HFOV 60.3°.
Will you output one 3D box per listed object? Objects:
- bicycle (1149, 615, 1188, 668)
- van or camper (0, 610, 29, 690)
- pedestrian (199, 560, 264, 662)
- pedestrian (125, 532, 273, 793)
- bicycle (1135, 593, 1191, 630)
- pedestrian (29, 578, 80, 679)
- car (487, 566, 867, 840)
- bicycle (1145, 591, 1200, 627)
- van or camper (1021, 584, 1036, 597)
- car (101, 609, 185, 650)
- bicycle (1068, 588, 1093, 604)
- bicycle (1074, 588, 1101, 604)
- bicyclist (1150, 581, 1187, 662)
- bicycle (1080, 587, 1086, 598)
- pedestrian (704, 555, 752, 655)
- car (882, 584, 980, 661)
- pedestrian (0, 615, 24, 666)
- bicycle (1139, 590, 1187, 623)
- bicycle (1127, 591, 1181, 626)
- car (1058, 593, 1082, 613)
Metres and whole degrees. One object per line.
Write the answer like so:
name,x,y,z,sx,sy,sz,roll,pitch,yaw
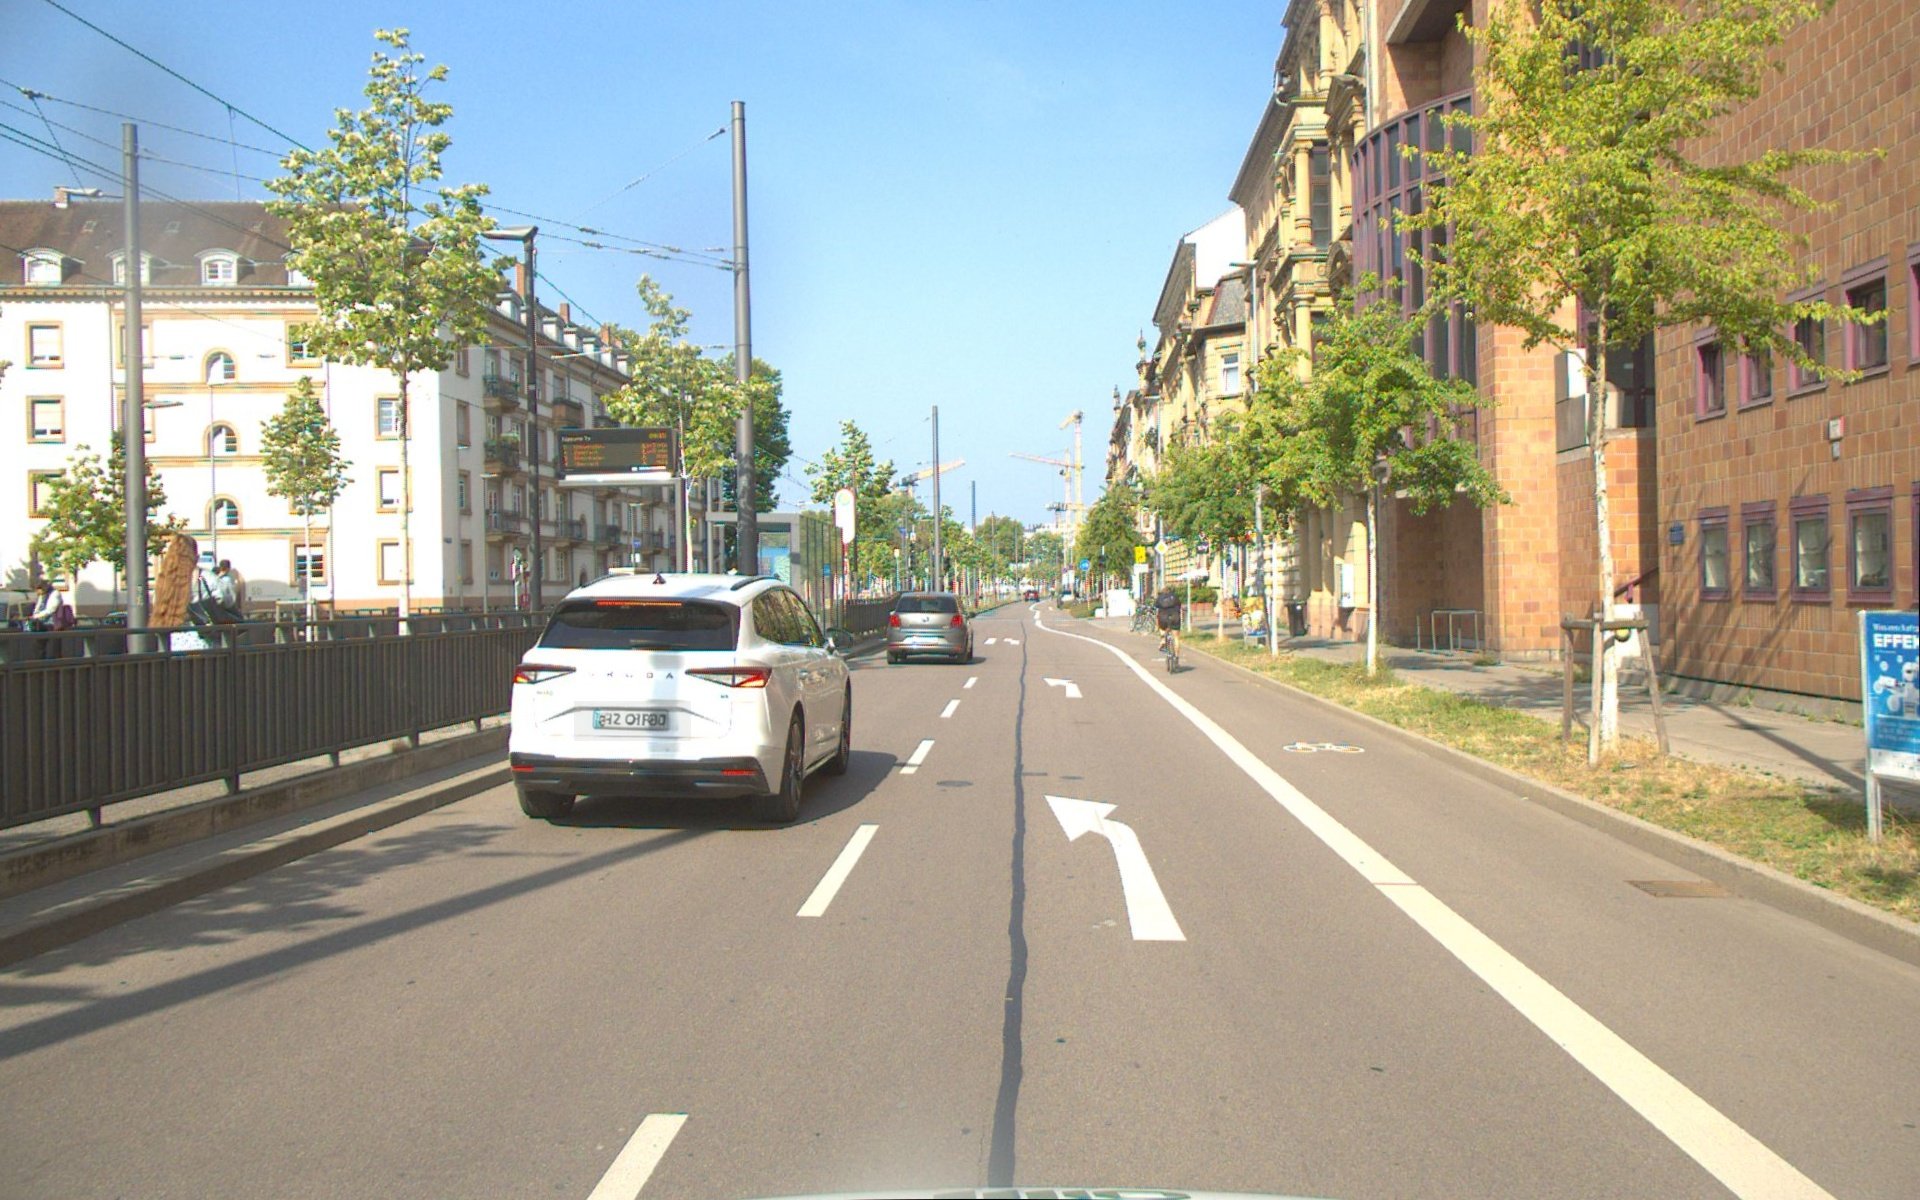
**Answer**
bicycle,3.990,0.786,31.716,0.495,0.970,1.785,1,-1,0
van or camper,-25.271,1.305,40.871,1.889,2.002,4.003,-1,0,7
pedestrian,-13.816,0.204,31.397,0.723,1.905,0.940,-1,0,5
pedestrian,-5.401,0.429,11.773,0.659,1.788,0.727,1,0,2
bicycle,6.921,0.381,56.400,1.722,1.106,0.610,-5,0,-7
pedestrian,-14.411,0.443,26.342,0.668,1.557,0.804,-1,0,-28
car,-1.813,0.600,12.043,1.779,1.617,4.408,-1,0,3
bicycle,7.445,0.312,57.944,1.722,1.106,0.657,-5,0,-7
van or camper,8.990,-1.281,217.206,1.952,1.684,4.001,-2,0,2
car,-34.238,1.224,69.398,1.639,1.559,3.924,-2,1,-2
bicycle,8.841,-0.297,121.192,1.748,1.072,0.373,-3,0,2
bicycle,9.243,-0.288,119.920,1.771,1.115,0.671,-3,0,-2
bicyclist,3.987,0.406,31.663,0.572,1.508,0.931,1,-1,0
bicycle,12.196,-0.720,163.918,0.482,1.113,1.827,-1,0,3
pedestrian,-4.856,0.105,34.691,0.816,2.049,1.028,1,0,-1
car,-0.548,0.432,34.790,1.717,1.510,4.408,-1,0,3
pedestrian,-31.027,1.319,53.795,0.791,1.611,0.678,-2,0,-12
bicycle,7.601,0.239,61.942,1.715,1.106,0.583,-4,0,6
bicycle,6.947,0.304,59.245,1.730,1.106,0.669,-5,0,-20
car,9.496,0.236,142.828,1.733,1.616,4.247,-3,0,0
